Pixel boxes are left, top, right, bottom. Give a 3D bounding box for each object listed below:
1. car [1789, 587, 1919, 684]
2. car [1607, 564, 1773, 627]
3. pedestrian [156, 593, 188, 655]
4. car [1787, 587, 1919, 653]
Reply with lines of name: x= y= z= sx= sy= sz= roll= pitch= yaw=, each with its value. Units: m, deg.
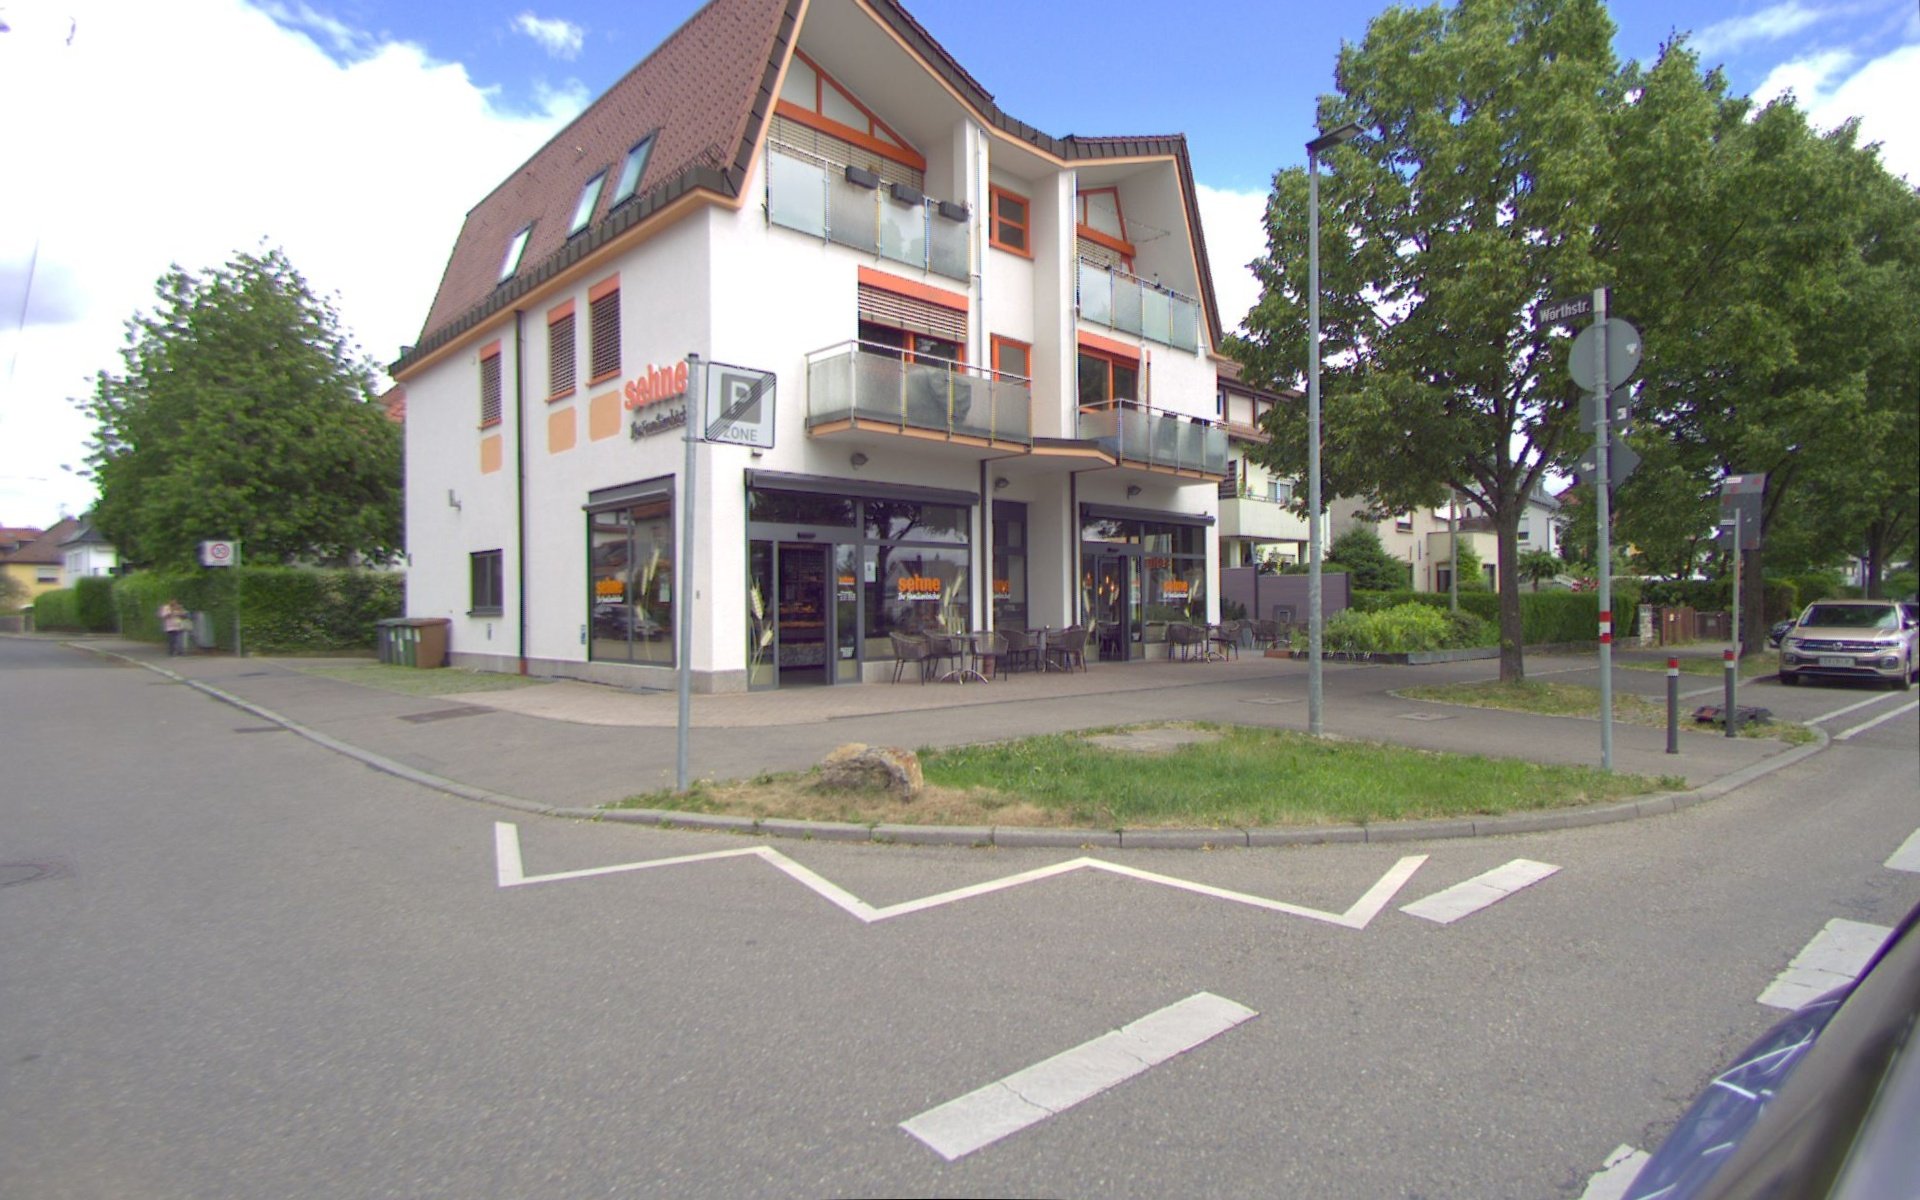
car: x=16.696 y=0.587 z=18.603 sx=3.992 sy=1.600 sz=1.724 roll=0 pitch=0 yaw=-43
car: x=32.190 y=-0.187 z=44.784 sx=1.964 sy=2.625 sz=5.717 roll=1 pitch=-1 yaw=-44
pedestrian: x=-20.729 y=0.615 z=26.619 sx=0.552 sy=1.577 sz=0.576 roll=-4 pitch=2 yaw=-41
car: x=24.836 y=0.514 z=26.947 sx=1.666 sy=1.658 sz=4.219 roll=0 pitch=1 yaw=-45
